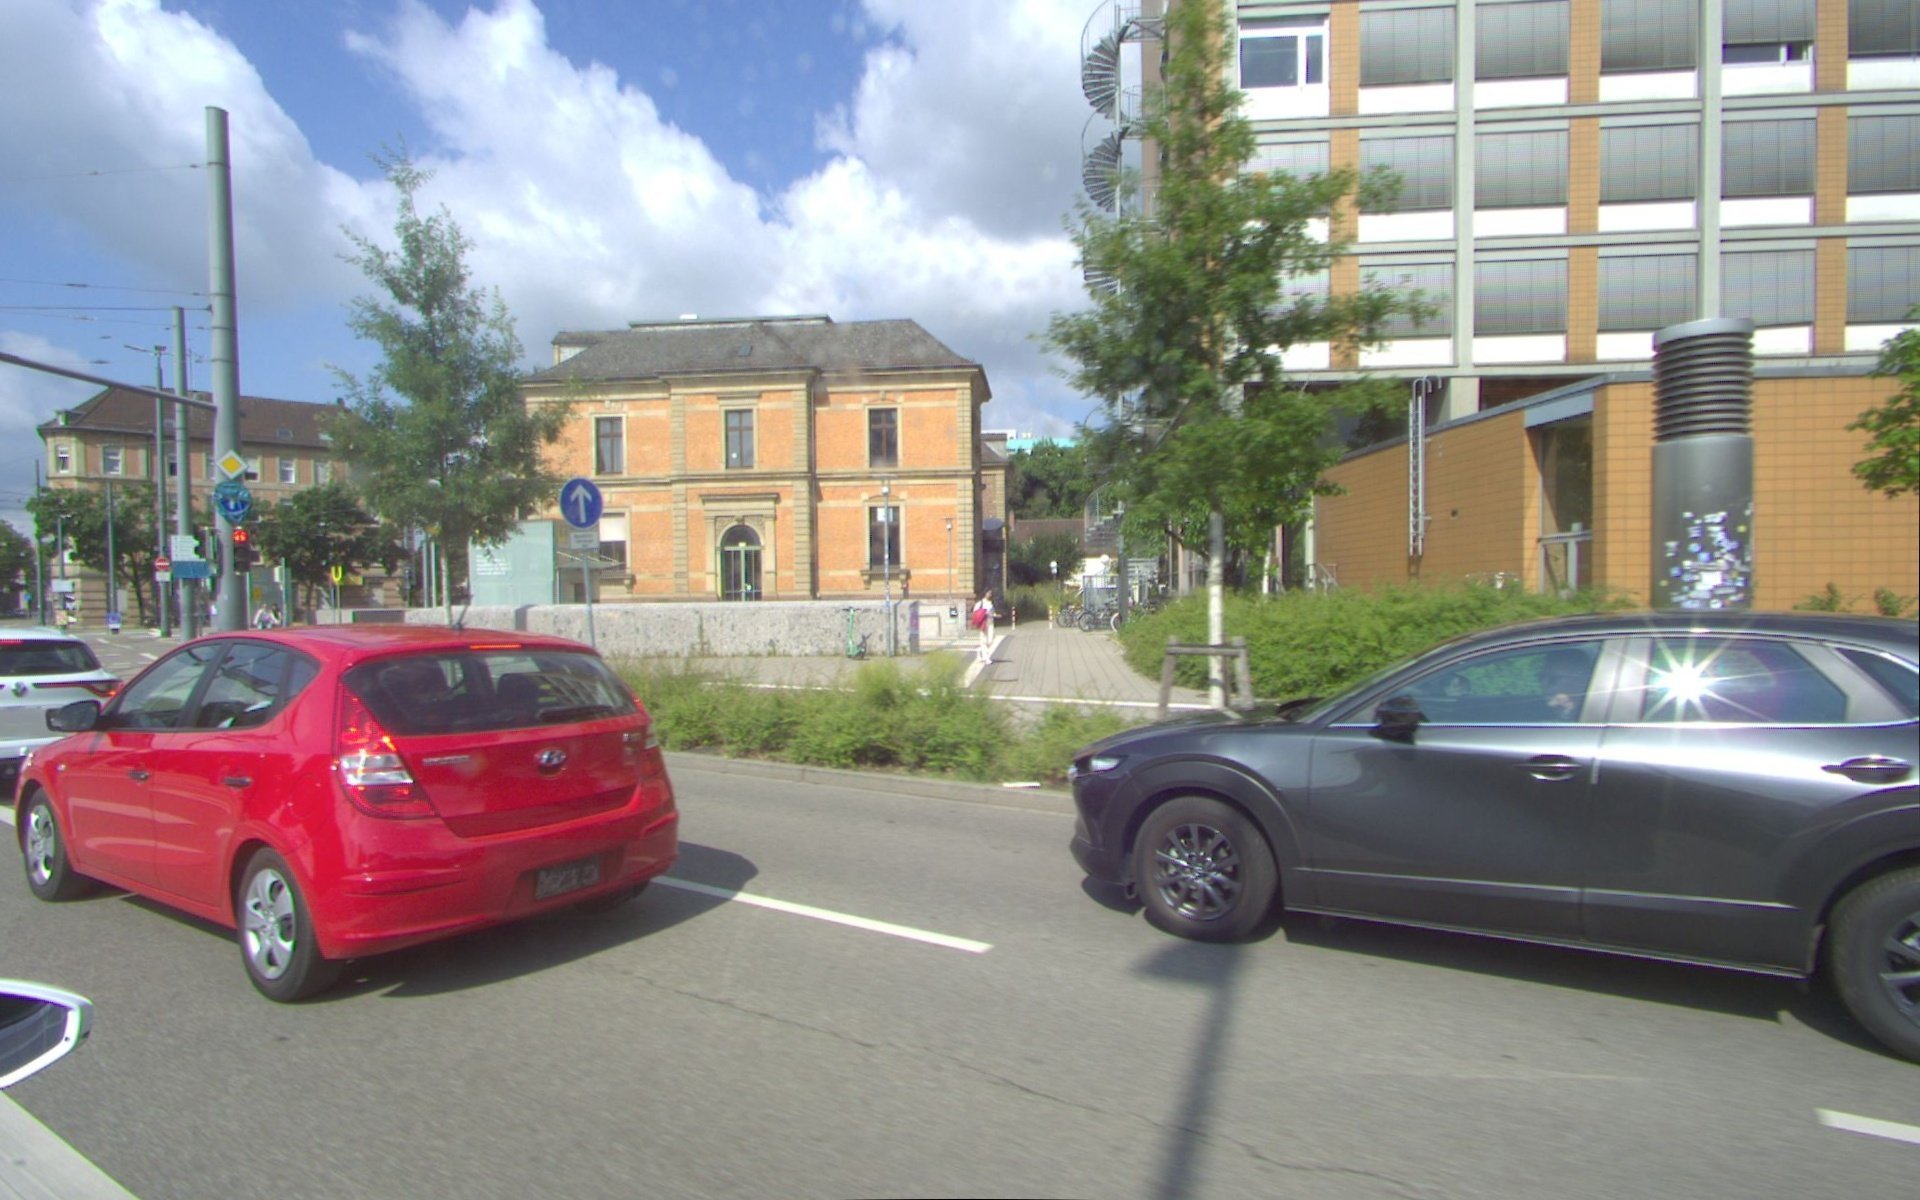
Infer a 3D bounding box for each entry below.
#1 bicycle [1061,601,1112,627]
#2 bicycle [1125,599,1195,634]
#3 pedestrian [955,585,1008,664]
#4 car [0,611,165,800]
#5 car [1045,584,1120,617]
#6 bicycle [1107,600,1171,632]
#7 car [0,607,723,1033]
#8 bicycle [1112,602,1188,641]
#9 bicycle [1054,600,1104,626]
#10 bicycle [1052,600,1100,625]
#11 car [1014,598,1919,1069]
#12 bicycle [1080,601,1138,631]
[{"bbox_3d":[5.284,0.584,41.949,2.031,1.087,0.748,-1,1,-3],"label":"bicycle"},{"bbox_3d":[6.492,0.532,32.577,2.031,1.087,1.037,-1,0,-2],"label":"bicycle"},{"bbox_3d":[0.474,0.530,22.144,0.871,1.709,0.759,0,1,42],"label":"pedestrian"},{"bbox_3d":[-9.343,0.872,9.357,4.276,1.492,1.842,-1,1,35],"label":"car"},{"bbox_3d":[7.773,0.026,63.848,4.624,2.040,2.000,0,0,4],"label":"car"},{"bbox_3d":[6.256,0.558,35.020,2.031,1.087,1.037,-1,0,-2],"label":"bicycle"},{"bbox_3d":[-3.344,0.801,5.287,4.009,1.458,1.813,-1,-2,33],"label":"car"},{"bbox_3d":[5.416,0.598,28.543,2.031,1.087,0.666,-1,1,-3],"label":"bicycle"},{"bbox_3d":[5.123,0.564,43.250,2.031,1.087,1.044,-1,0,-2],"label":"bicycle"},{"bbox_3d":[5.226,0.547,45.057,2.031,1.087,0.748,-1,1,-3],"label":"bicycle"},{"bbox_3d":[2.498,0.797,4.707,4.144,1.527,1.803,-1,-2,32],"label":"car"},{"bbox_3d":[5.502,0.581,36.992,2.031,1.087,0.748,-1,1,-3],"label":"bicycle"}]
